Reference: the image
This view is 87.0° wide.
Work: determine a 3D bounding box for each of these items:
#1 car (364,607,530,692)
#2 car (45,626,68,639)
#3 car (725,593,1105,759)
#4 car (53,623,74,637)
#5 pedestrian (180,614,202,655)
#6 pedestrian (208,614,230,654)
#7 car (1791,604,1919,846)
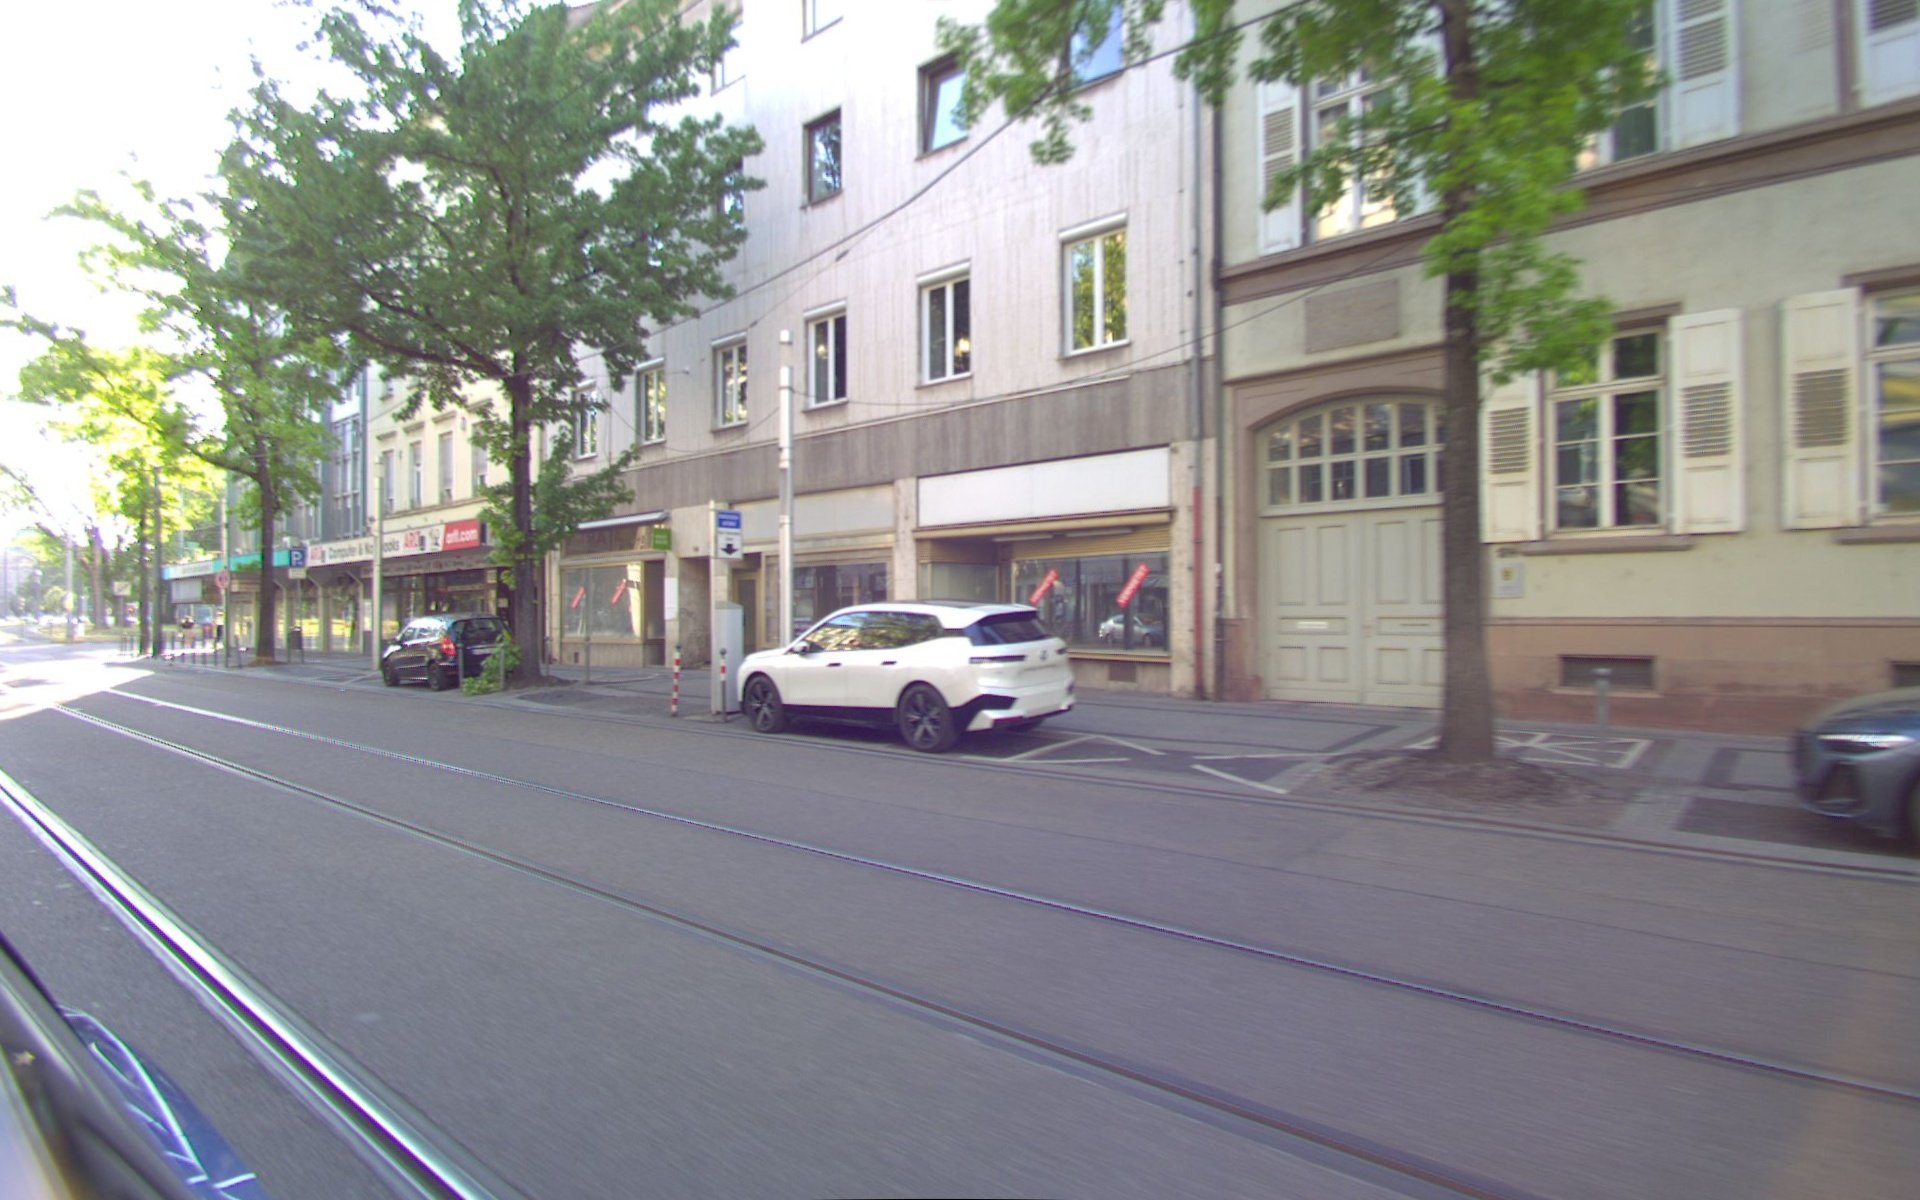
[{"bbox_3d":[-11.623,1.047,22.843,3.998,1.652,1.942,-1,2,41],"label":"car"},{"bbox_3d":[-143.379,5.151,160.556,4.543,2.029,1.974,-1,0,39],"label":"car"},{"bbox_3d":[-0.738,0.810,12.866,4.811,1.652,1.941,-1,2,42],"label":"car"},{"bbox_3d":[-136.445,4.568,154.045,3.999,2.029,1.972,-1,-1,42],"label":"car"},{"bbox_3d":[-38.772,1.735,51.032,0.734,2.029,0.788,0,0,42],"label":"pedestrian"},{"bbox_3d":[-38.056,1.716,51.993,0.734,2.029,0.788,0,0,42],"label":"pedestrian"},{"bbox_3d":[7.747,0.722,5.566,4.841,1.423,1.943,-1,-1,39],"label":"car"}]
